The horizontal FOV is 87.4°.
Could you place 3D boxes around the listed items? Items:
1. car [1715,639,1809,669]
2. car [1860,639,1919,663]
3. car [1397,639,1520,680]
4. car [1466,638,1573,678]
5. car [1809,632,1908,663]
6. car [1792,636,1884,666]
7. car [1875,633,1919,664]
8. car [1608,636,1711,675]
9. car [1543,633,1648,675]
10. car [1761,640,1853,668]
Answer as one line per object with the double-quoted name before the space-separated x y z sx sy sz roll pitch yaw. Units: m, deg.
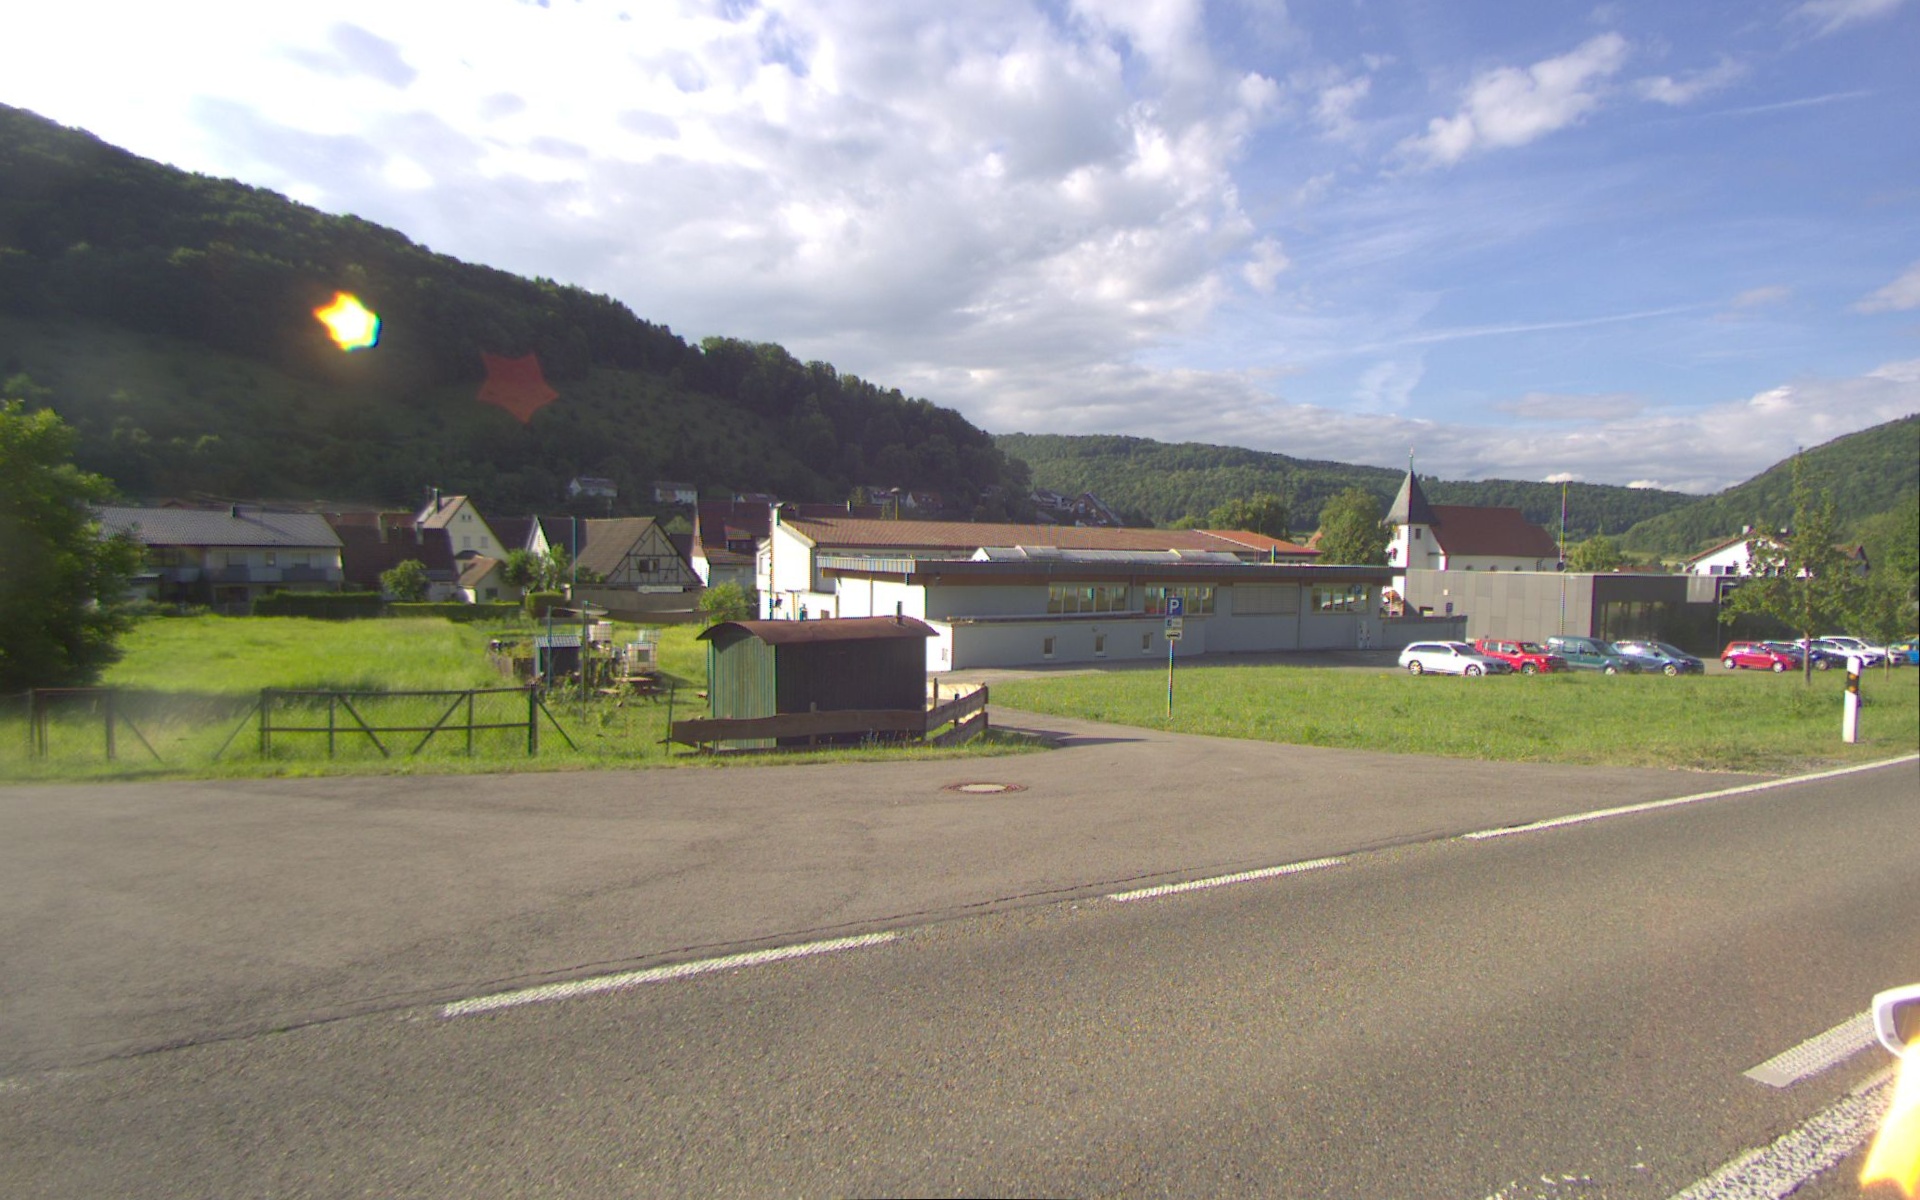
"car" 42.844 2.841 53.723 1.626 1.463 3.614 1 -1 -25
"car" 58.054 3.168 62.067 1.642 1.392 3.351 1 -1 -32
"car" 21.828 2.564 44.156 1.973 1.610 4.626 1 -1 -26
"car" 24.826 2.546 44.715 1.732 1.600 3.907 1 -1 -26
"car" 52.838 2.743 59.128 1.575 1.695 4.065 1 -1 -25
"car" 50.154 2.886 57.425 1.575 1.513 3.656 0 -1 -25
"car" 60.532 3.063 62.826 1.816 1.838 4.540 4 -2 -25
"car" 34.024 2.679 48.977 1.709 1.744 3.806 1 -1 -26
"car" 29.824 2.485 47.257 1.734 1.745 3.846 1 0 -28
"car" 47.250 2.962 56.083 1.575 1.424 3.614 1 -1 -25
